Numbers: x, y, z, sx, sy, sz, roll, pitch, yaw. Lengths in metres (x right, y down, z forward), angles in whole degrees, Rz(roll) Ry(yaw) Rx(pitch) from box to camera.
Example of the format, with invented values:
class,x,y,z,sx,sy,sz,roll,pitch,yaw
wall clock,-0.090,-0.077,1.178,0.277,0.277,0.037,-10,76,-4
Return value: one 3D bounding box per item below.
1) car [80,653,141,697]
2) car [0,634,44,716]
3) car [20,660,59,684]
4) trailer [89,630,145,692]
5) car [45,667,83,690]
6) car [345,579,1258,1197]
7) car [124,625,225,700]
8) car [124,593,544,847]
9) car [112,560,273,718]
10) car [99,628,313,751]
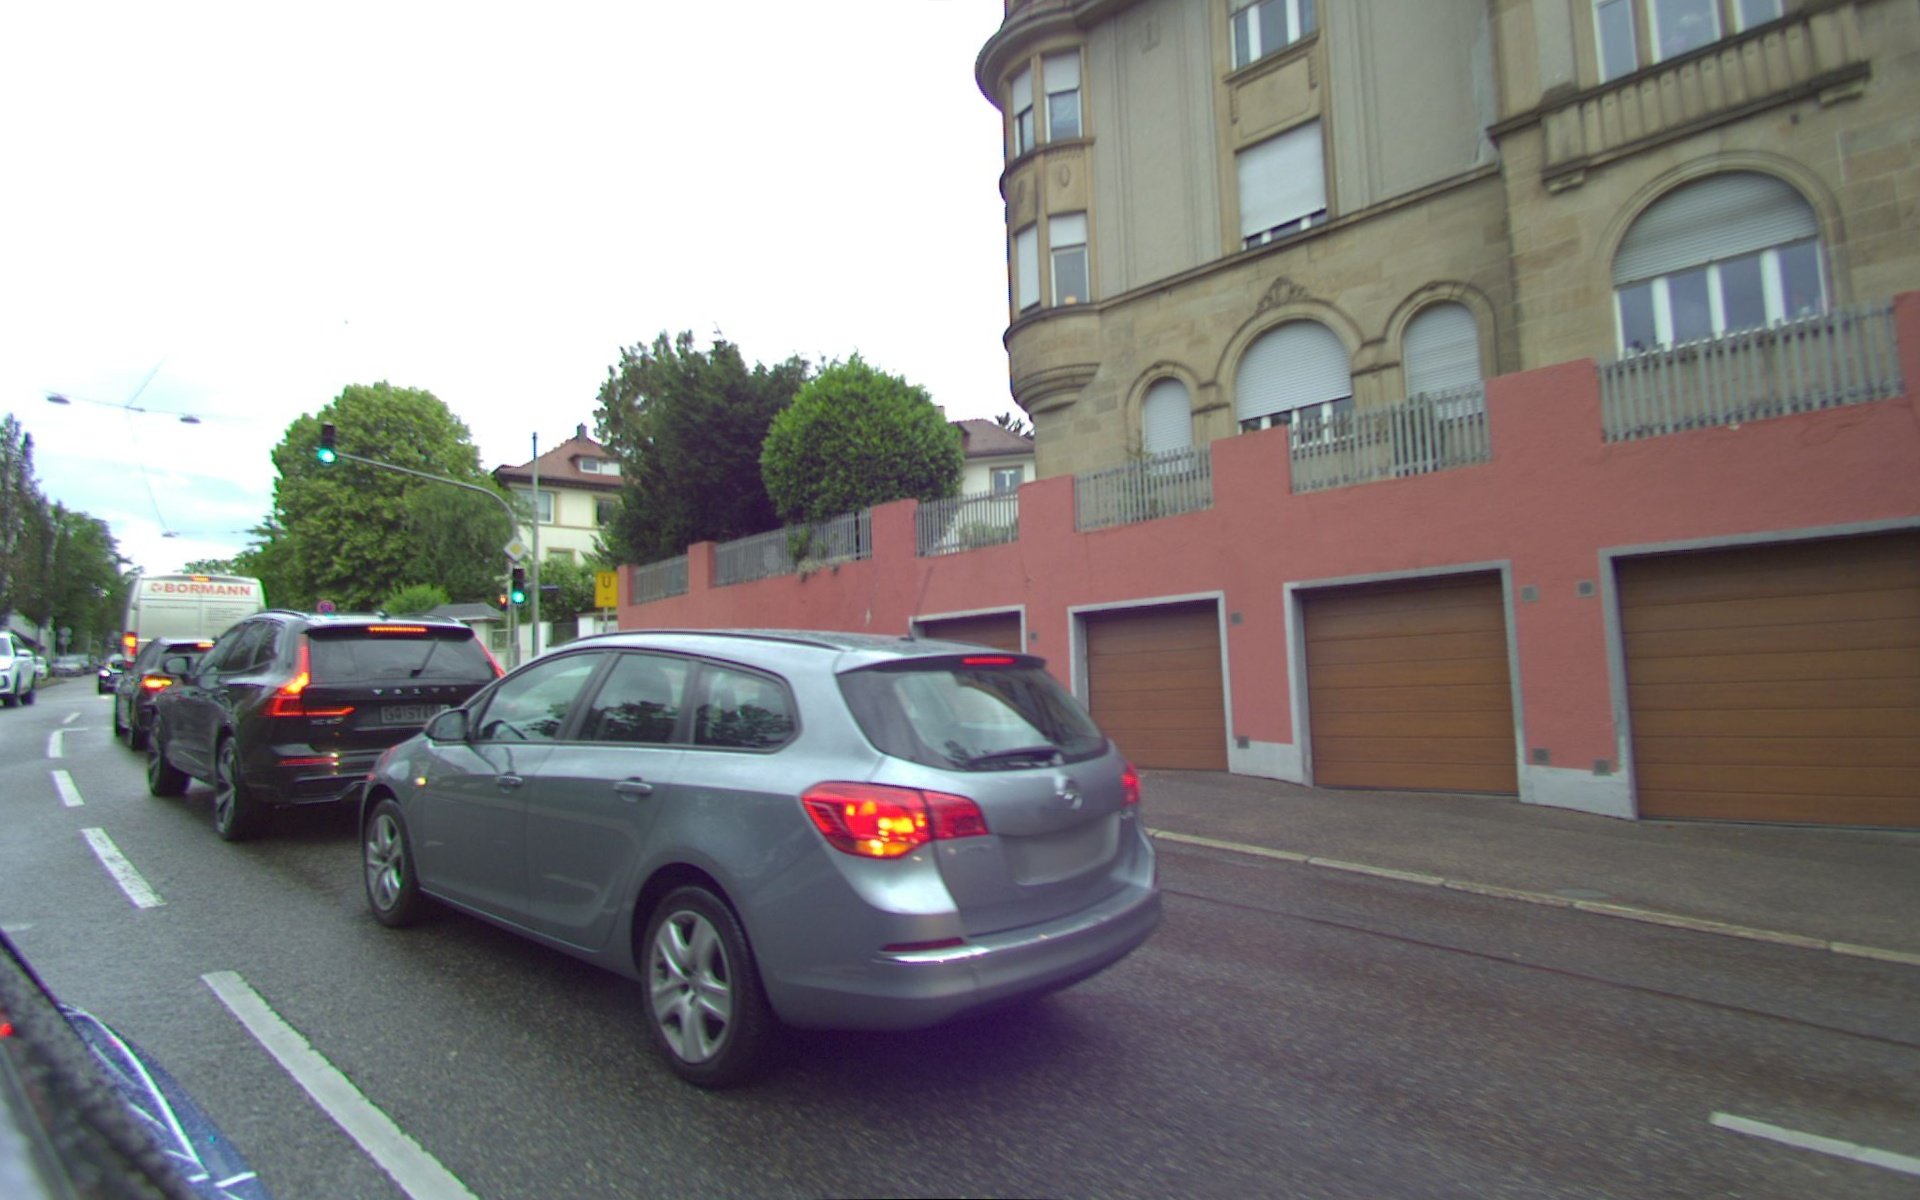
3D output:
class,x,y,z,sx,sy,sz,roll,pitch,yaw
car,-35.329,3.076,42.157,1.709,1.631,3.483,0,-1,-36
car,-21.036,1.587,21.814,1.759,1.654,4.206,3,-4,-41
car,-55.745,4.382,61.309,1.567,1.422,3.461,5,-6,-41
trailer,-37.264,2.651,44.795,1.743,2.645,3.039,1,-2,-37
car,-64.357,5.623,72.754,1.791,1.471,4.750,3,-4,-39
car,-1.044,0.779,4.576,4.261,1.509,1.755,-2,-3,41
car,-19.175,1.514,24.660,1.798,1.665,4.353,1,-4,-39
car,-5.491,0.852,8.598,4.586,1.587,1.854,-2,-4,43
car,-14.734,0.766,19.295,2.091,2.565,5.548,3,-4,-40
car,-10.466,1.150,13.942,1.794,1.441,4.003,4,-4,-44
